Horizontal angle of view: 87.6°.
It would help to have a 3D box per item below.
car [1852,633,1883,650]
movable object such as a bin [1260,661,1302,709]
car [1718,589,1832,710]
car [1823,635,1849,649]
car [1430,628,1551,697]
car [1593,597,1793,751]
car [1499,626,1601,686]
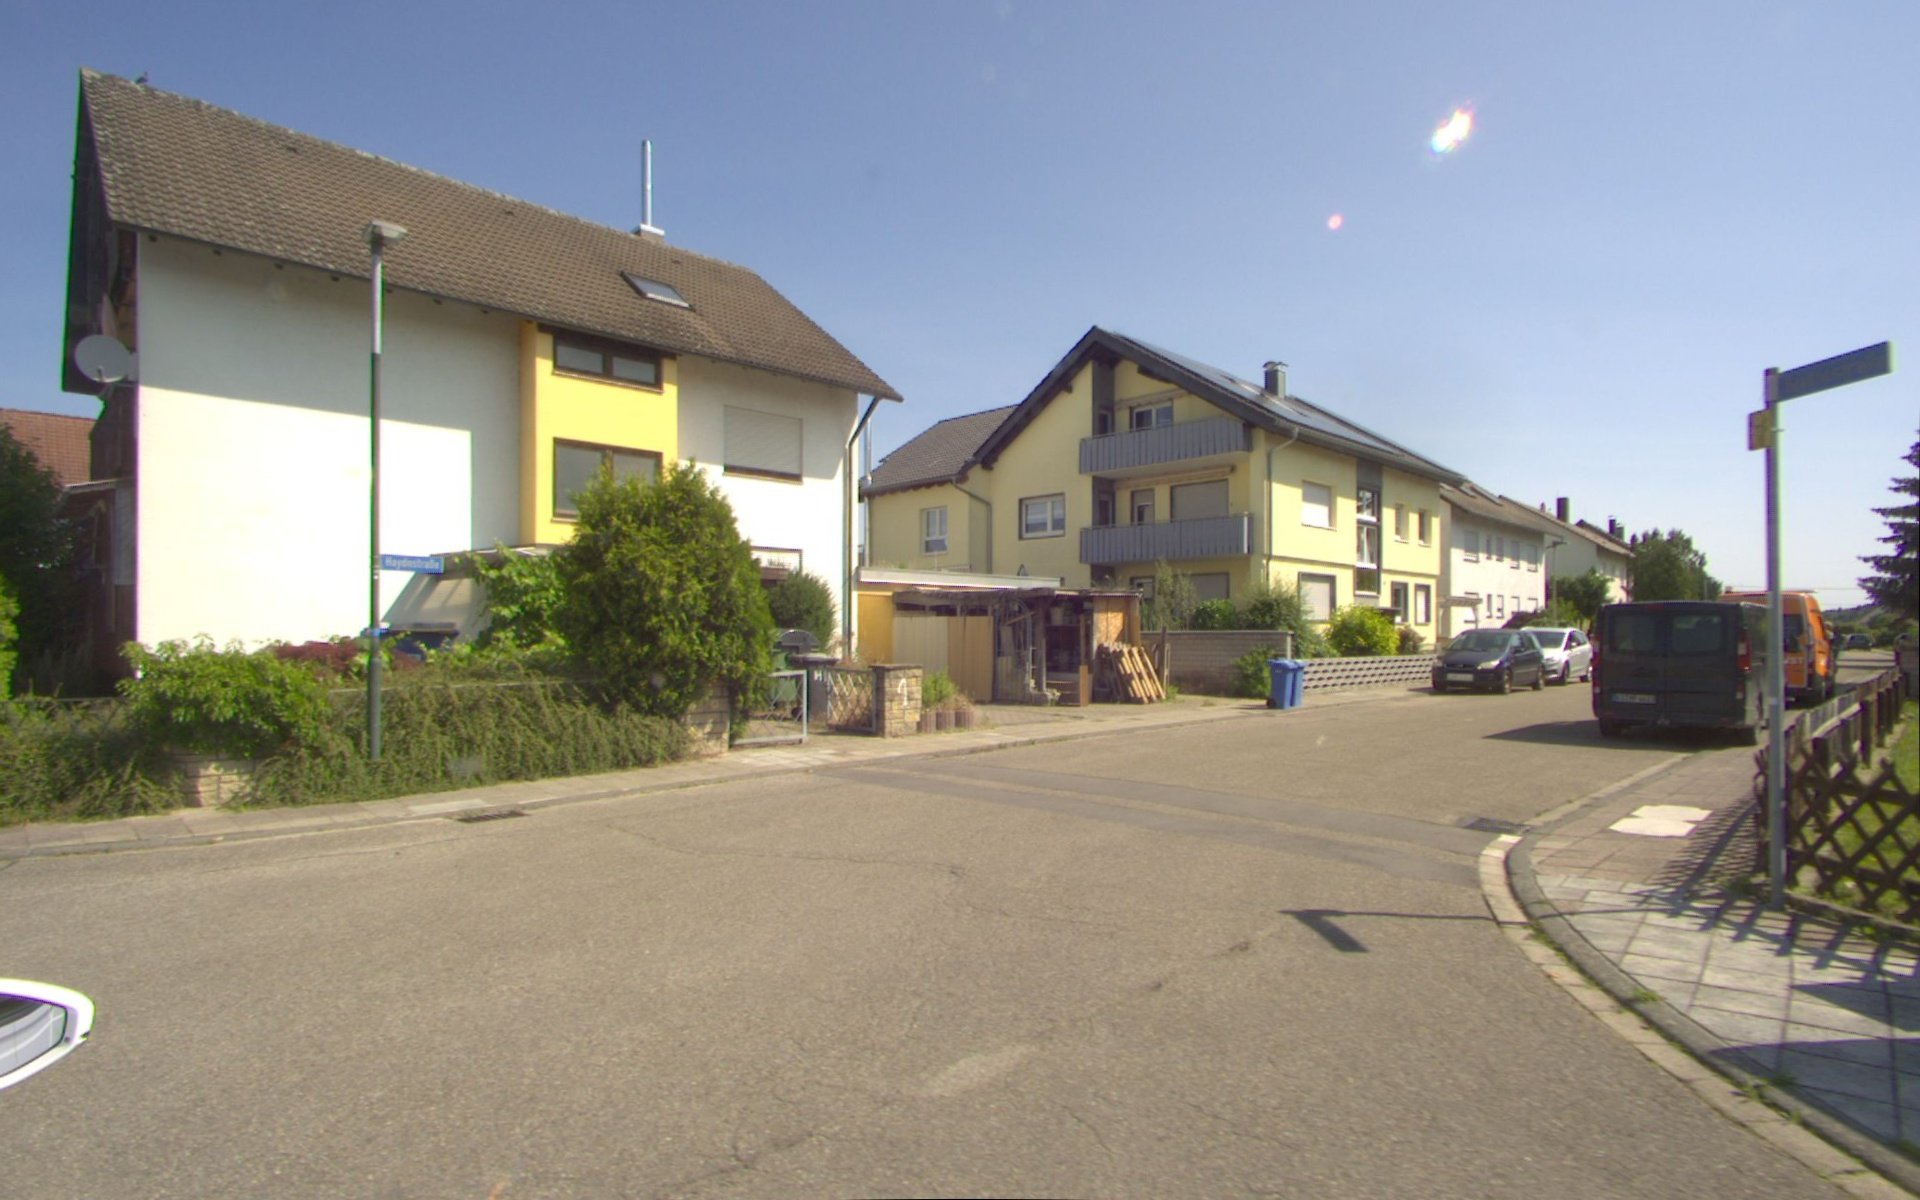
[{"bbox_3d":[81.172,3.722,89.603,1.688,1.357,3.976,-2,-4,37],"label":"car"},{"bbox_3d":[6.387,1.681,19.937,0.579,0.928,0.593,-2,-2,44],"label":"movable object such as a bin"},{"bbox_3d":[17.543,1.026,21.481,1.540,2.353,4.167,-2,-2,44],"label":"car"},{"bbox_3d":[87.796,4.251,100.391,1.688,1.357,3.976,-2,-4,37],"label":"car"},{"bbox_3d":[13.734,1.566,25.850,3.962,1.646,1.618,2,-3,-44],"label":"car"},{"bbox_3d":[10.995,1.018,14.905,1.852,1.963,4.167,-2,-2,44],"label":"car"},{"bbox_3d":[17.605,1.640,29.808,3.962,1.646,1.618,2,-3,-44],"label":"car"}]
